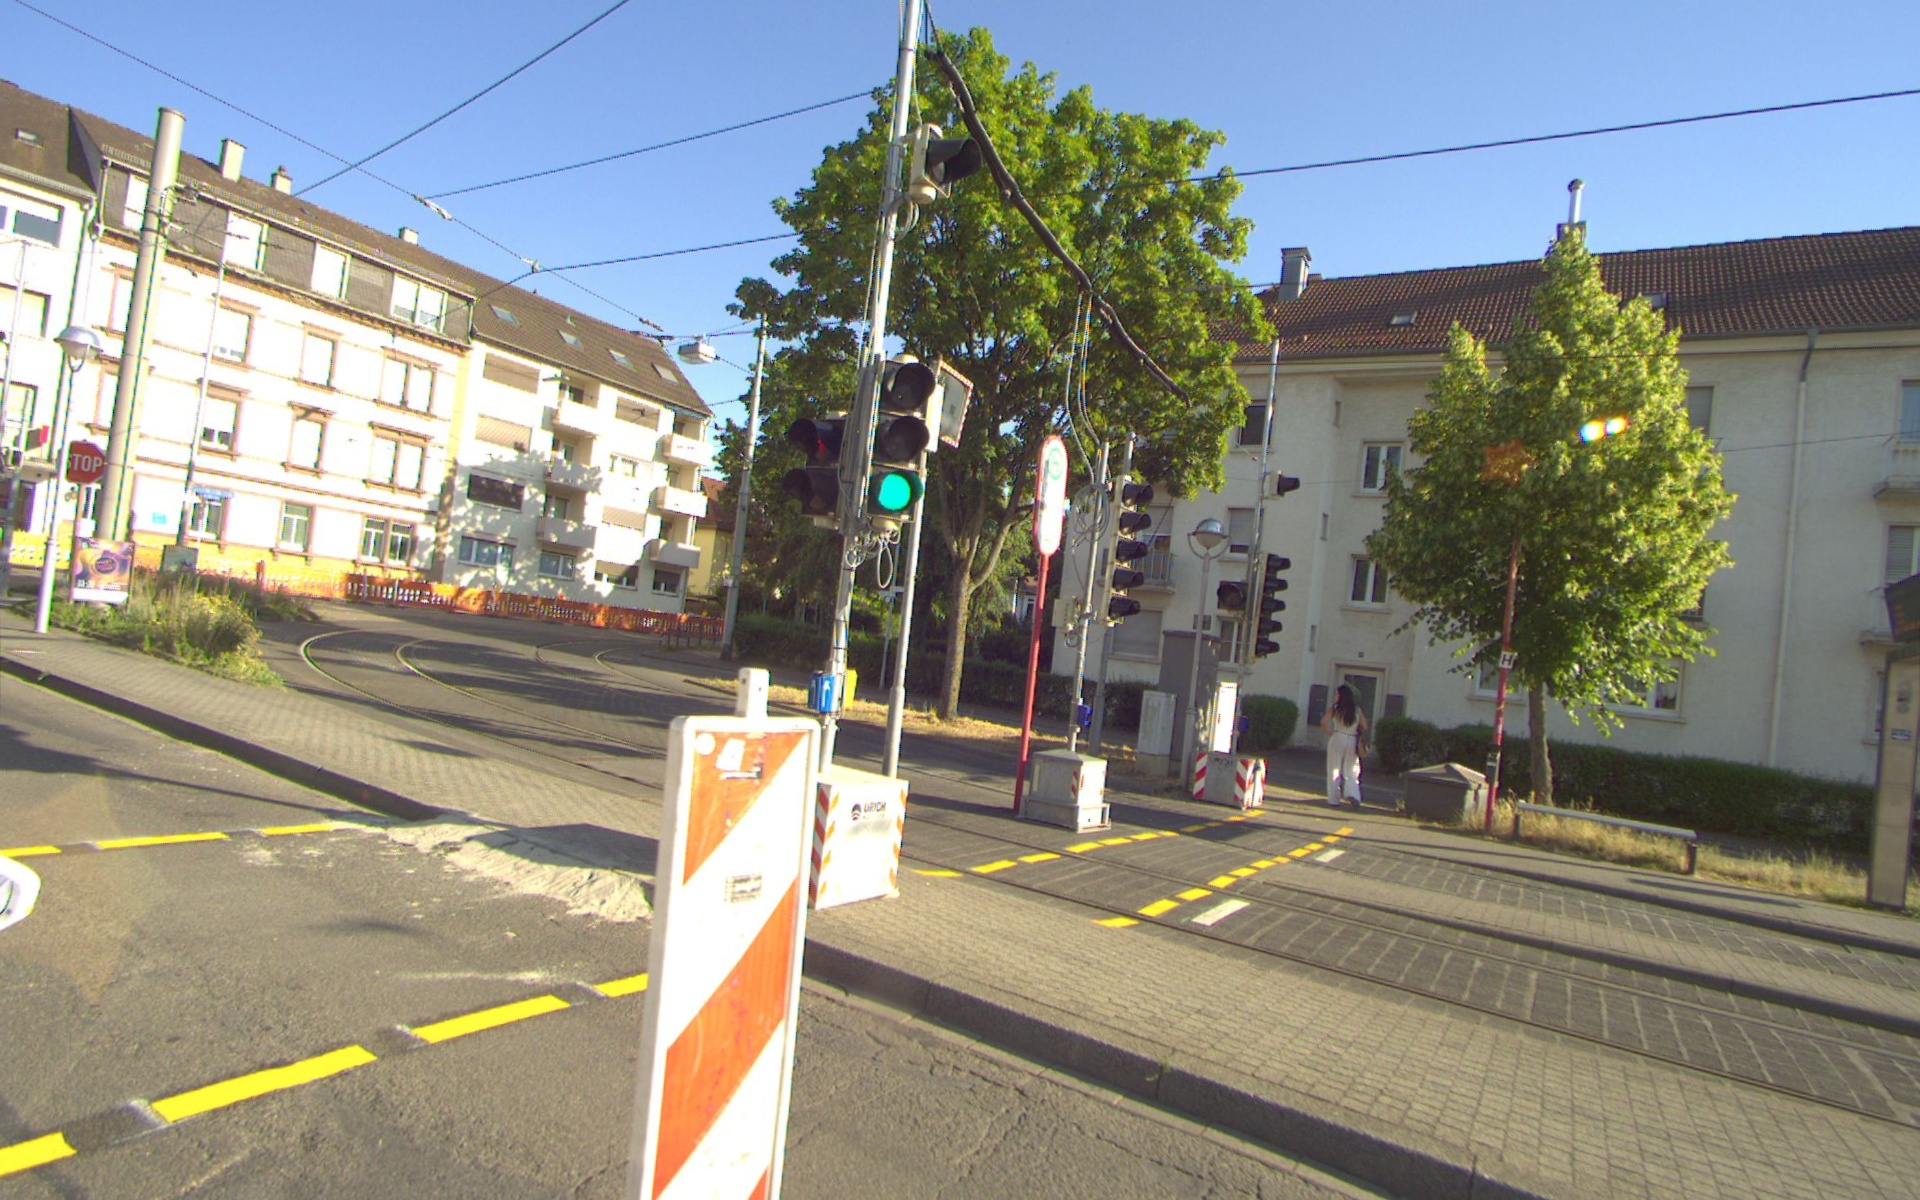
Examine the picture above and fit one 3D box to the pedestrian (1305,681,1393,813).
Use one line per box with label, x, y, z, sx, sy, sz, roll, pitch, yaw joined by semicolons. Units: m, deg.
pedestrian;5.334;1.993;13.848;0.811;1.639;0.792;6;-1;7
